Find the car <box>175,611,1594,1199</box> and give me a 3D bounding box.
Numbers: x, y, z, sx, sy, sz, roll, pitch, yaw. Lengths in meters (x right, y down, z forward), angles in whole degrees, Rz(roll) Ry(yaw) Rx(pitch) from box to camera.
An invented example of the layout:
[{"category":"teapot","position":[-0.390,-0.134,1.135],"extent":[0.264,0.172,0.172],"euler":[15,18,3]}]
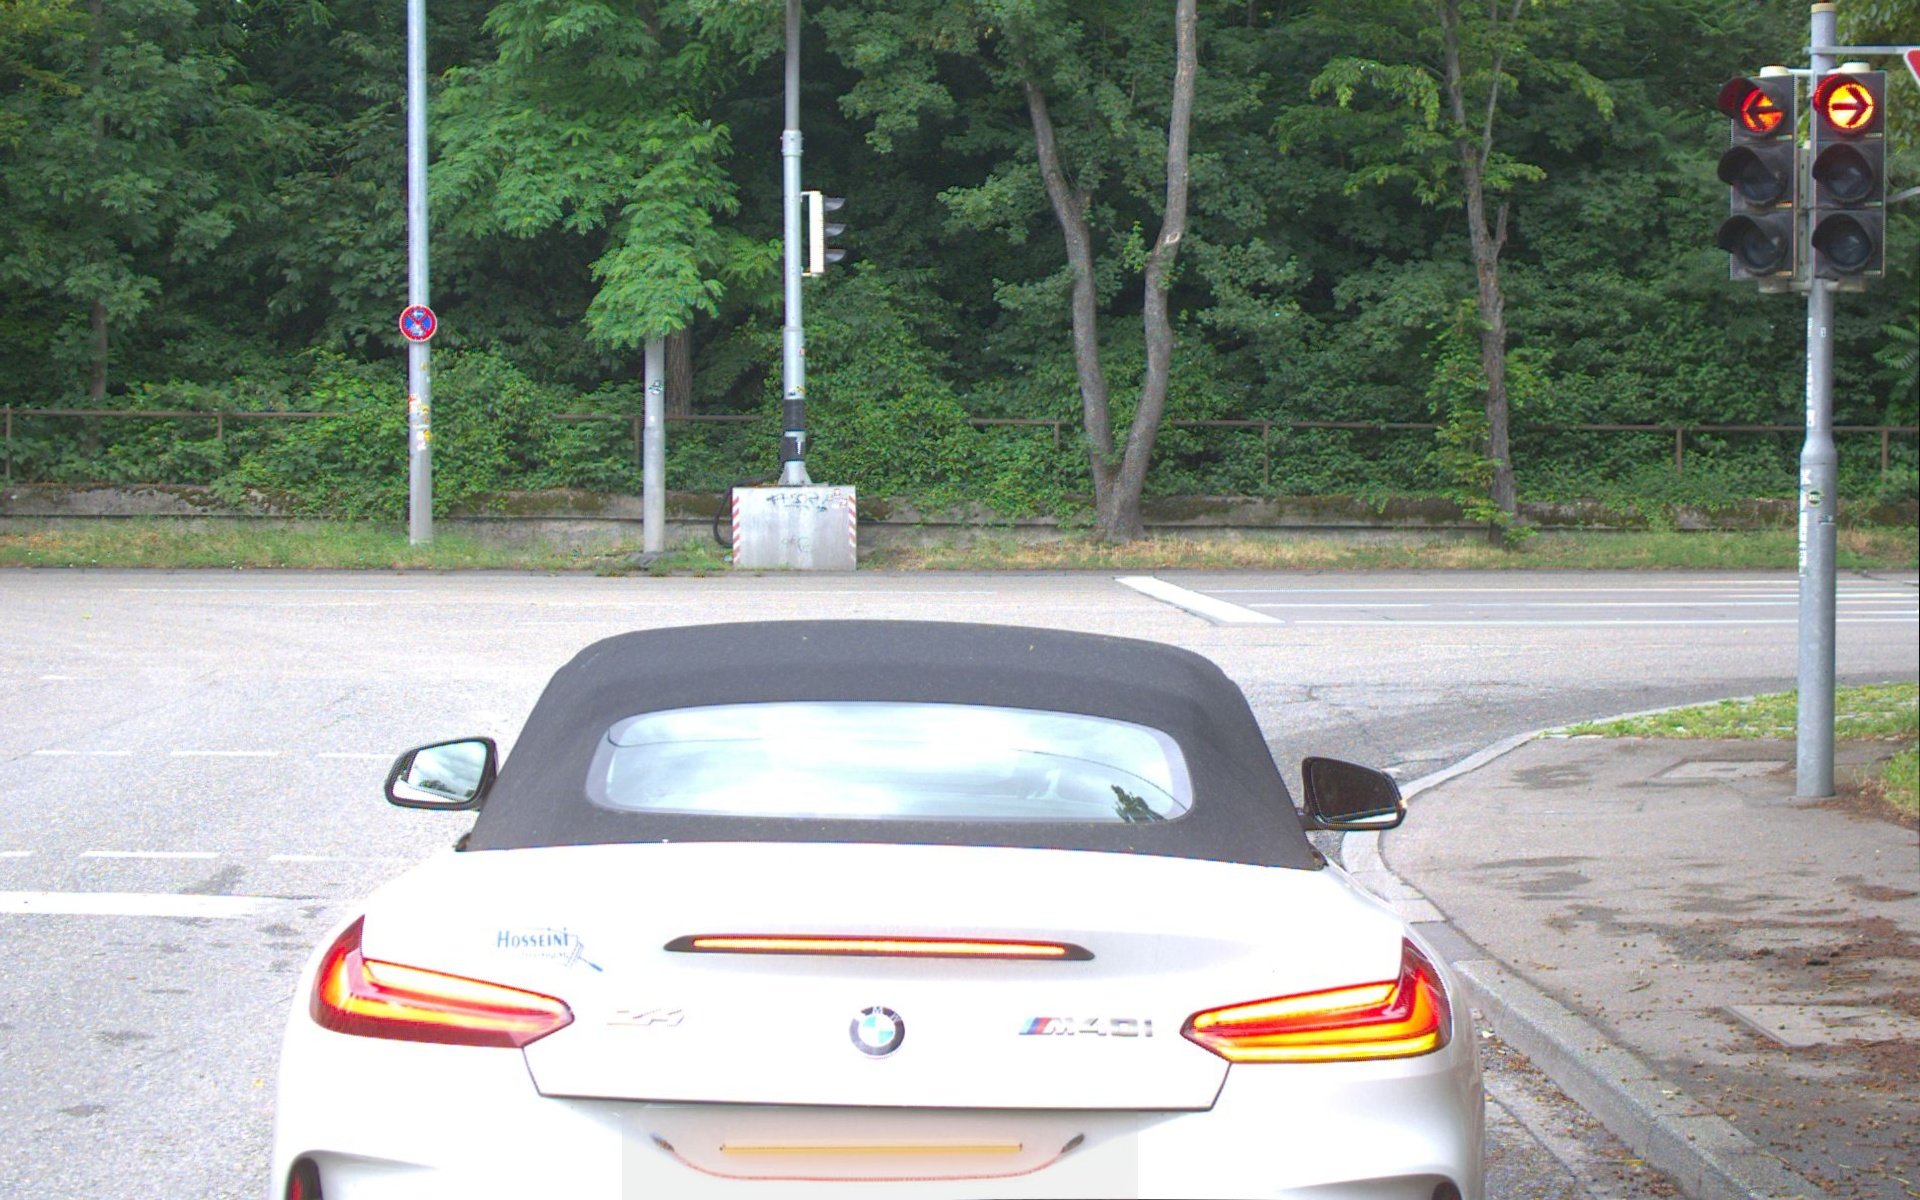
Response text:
[{"category":"car","position":[-0.188,0.673,6.469],"extent":[1.827,1.253,4.000],"euler":[2,0,-3]}]
